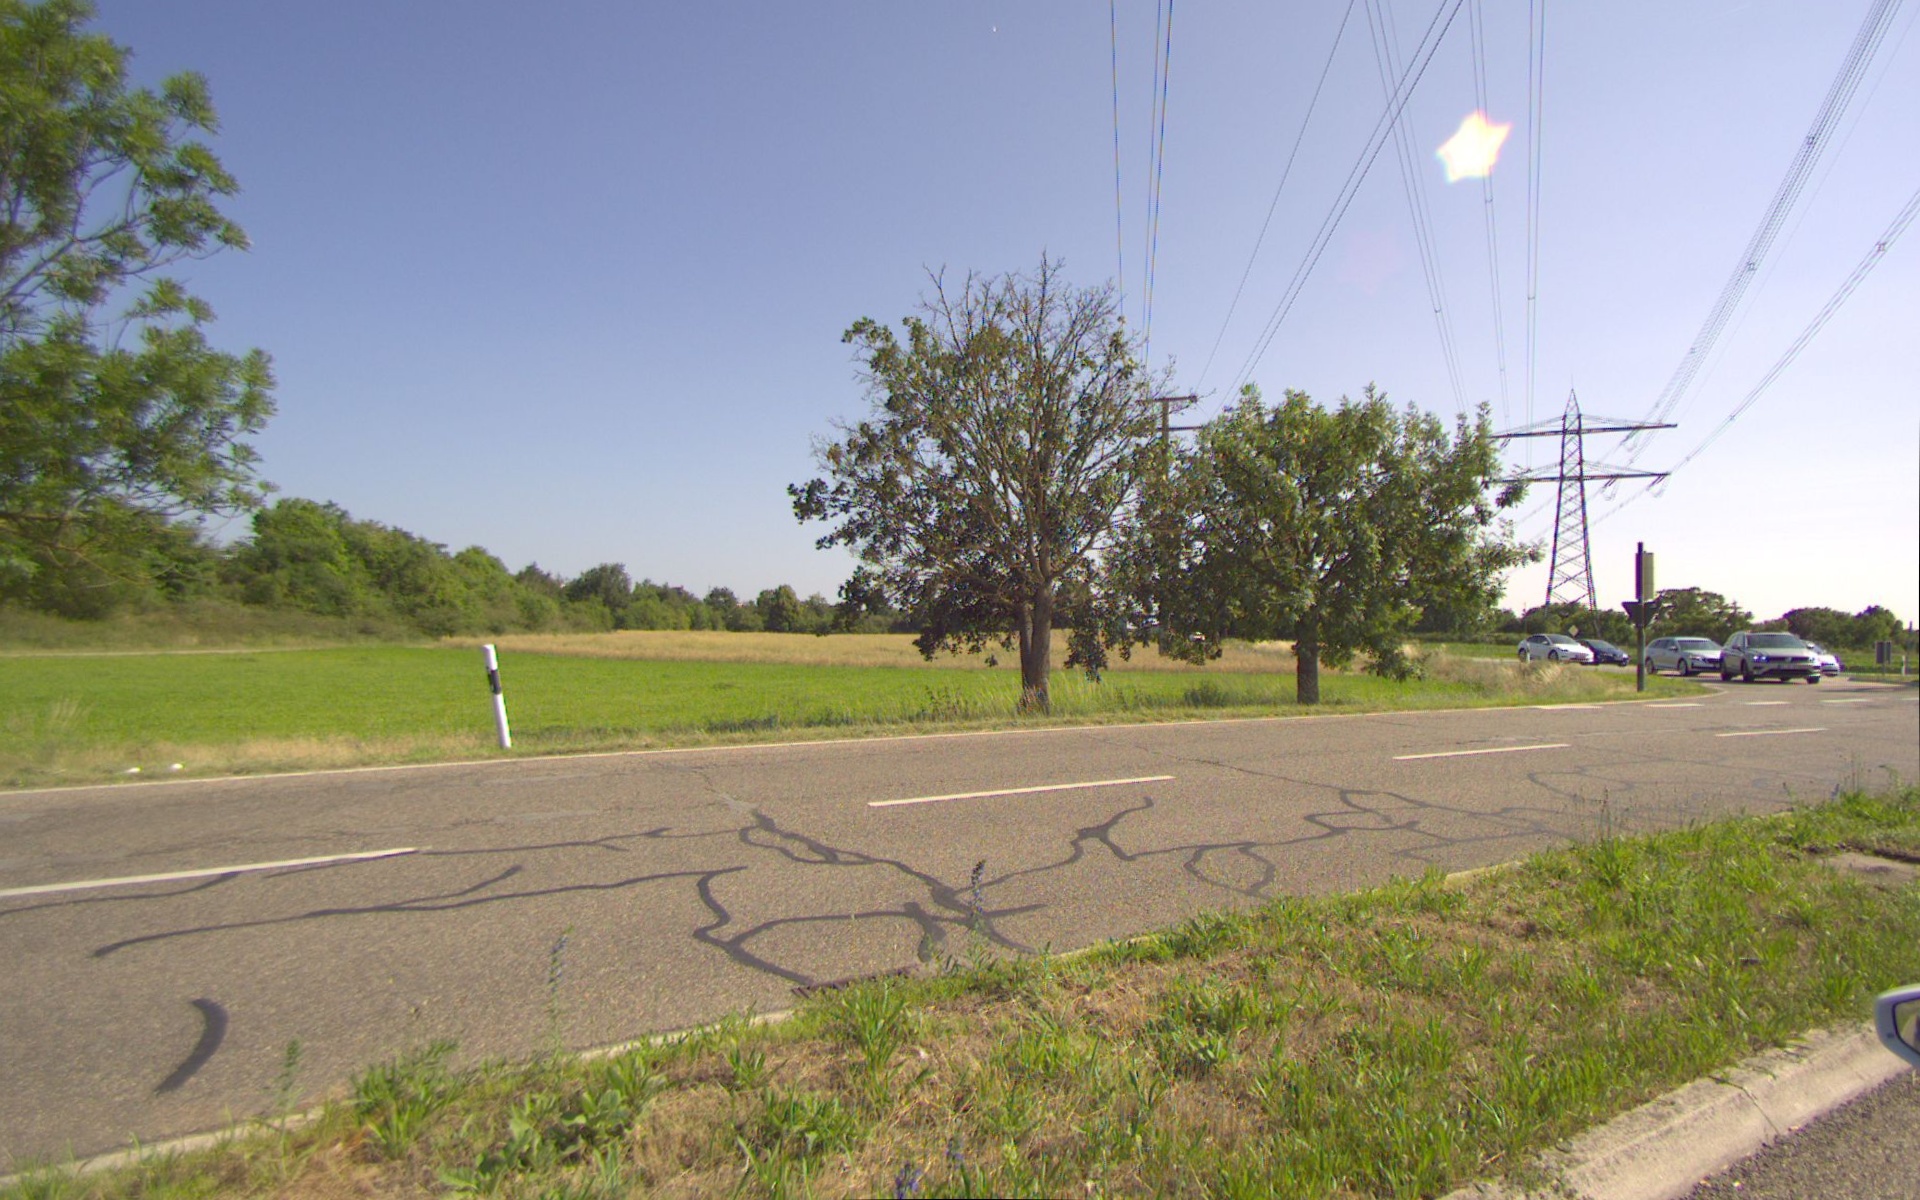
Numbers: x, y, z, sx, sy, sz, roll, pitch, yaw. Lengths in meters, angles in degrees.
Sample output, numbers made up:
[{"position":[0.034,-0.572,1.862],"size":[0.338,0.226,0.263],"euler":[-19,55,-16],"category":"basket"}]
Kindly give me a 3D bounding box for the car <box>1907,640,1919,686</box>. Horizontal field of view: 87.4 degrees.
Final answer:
[{"position":[36.063,2.281,35.308],"size":[1.784,1.673,4.000],"euler":[1,-1,0],"category":"car"}]

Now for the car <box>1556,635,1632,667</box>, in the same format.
[{"position":[35.929,2.880,57.033],"size":[1.784,1.673,4.000],"euler":[1,-1,0],"category":"car"}]

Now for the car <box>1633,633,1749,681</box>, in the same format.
[{"position":[27.717,2.135,38.254],"size":[1.783,1.673,4.002],"euler":[1,-1,5],"category":"car"}]

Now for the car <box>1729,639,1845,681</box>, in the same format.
[{"position":[36.269,2.584,44.193],"size":[1.784,1.673,4.000],"euler":[1,-1,0],"category":"car"}]

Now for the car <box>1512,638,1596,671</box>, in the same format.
[{"position":[32.609,2.958,55.310],"size":[1.784,1.673,4.762],"euler":[1,-1,0],"category":"car"}]

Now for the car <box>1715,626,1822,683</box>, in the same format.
[{"position":[25.701,1.685,32.084],"size":[1.786,1.673,3.996],"euler":[0,-2,26],"category":"car"}]
